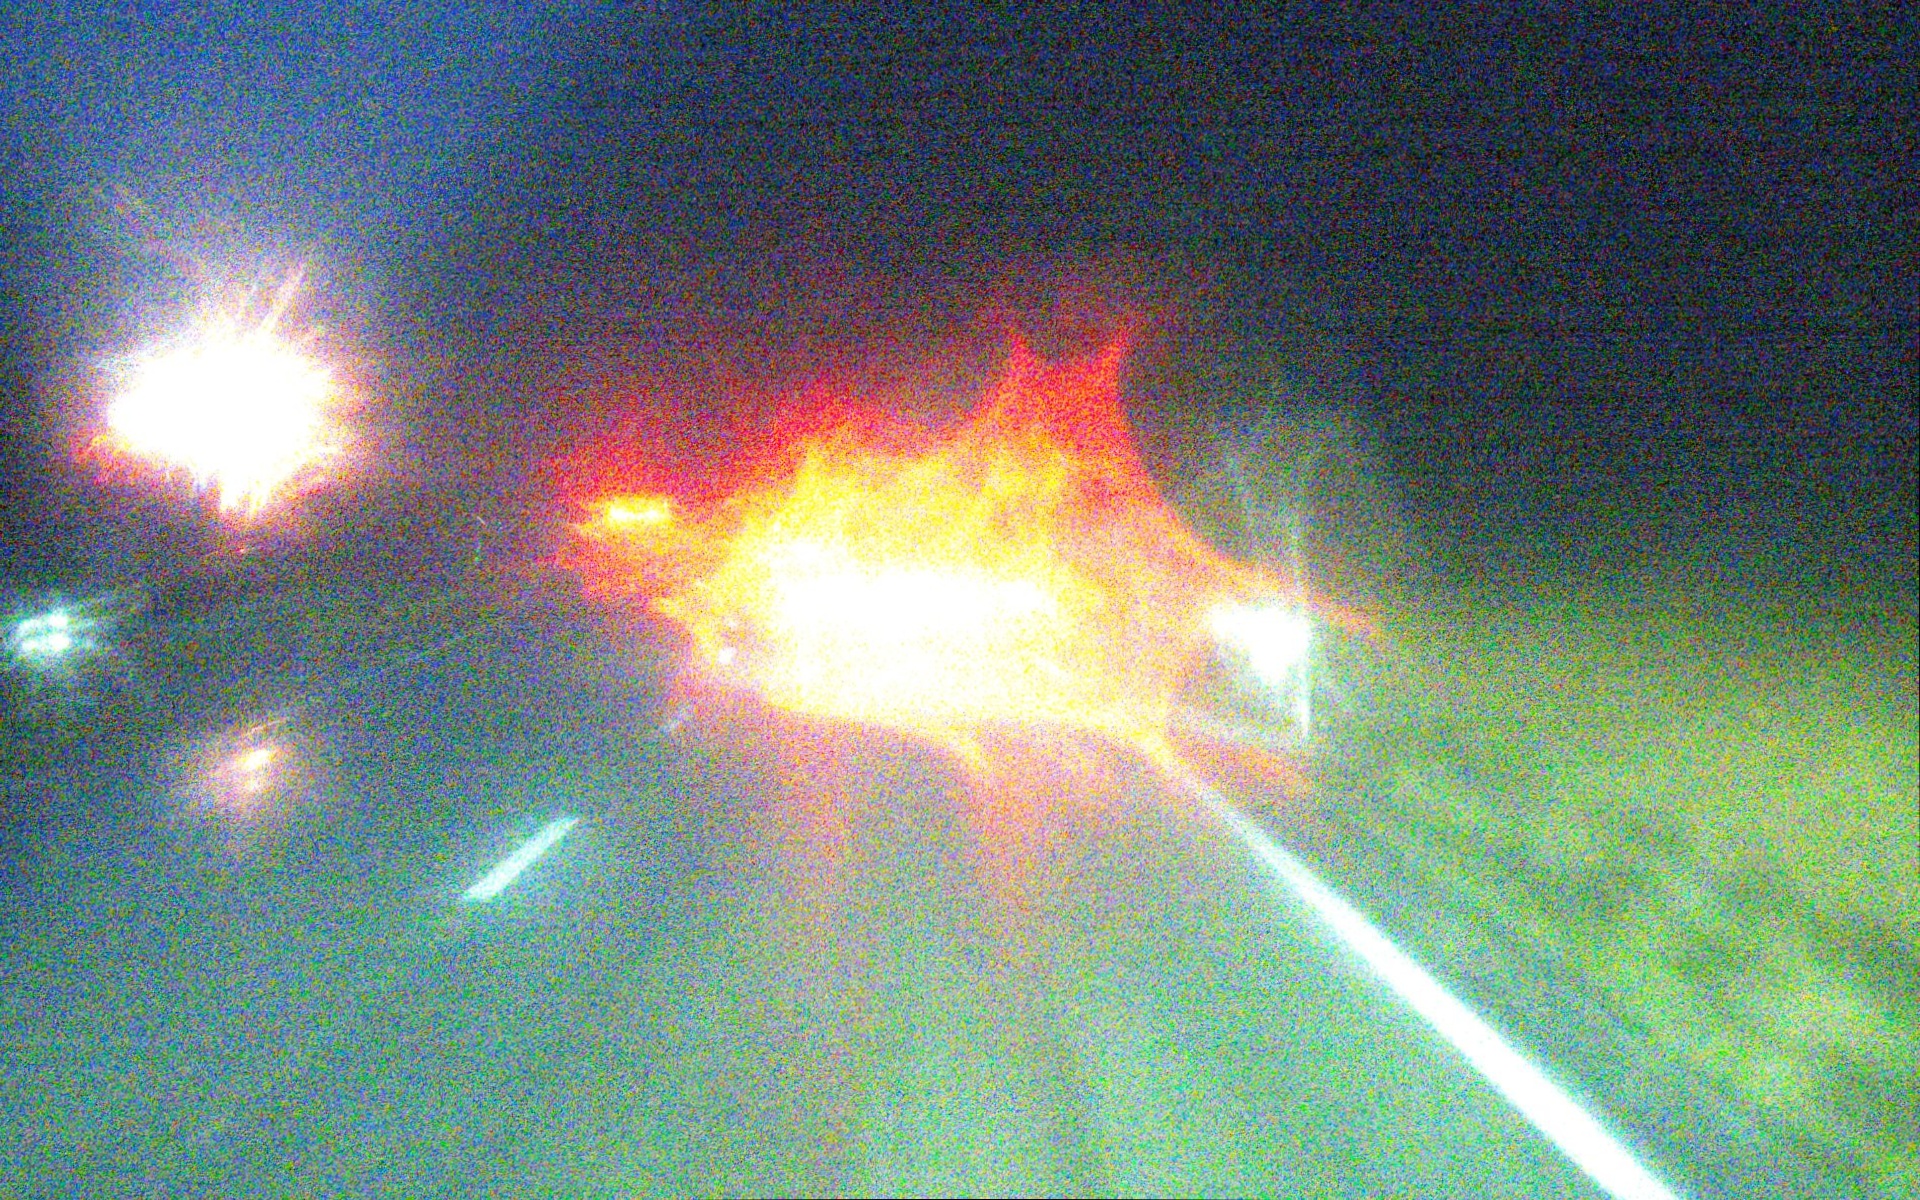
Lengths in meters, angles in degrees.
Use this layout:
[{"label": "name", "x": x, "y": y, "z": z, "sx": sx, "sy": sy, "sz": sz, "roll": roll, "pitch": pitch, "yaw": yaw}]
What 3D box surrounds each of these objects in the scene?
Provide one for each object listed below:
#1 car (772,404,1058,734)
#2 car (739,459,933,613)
[{"label": "car", "x": -0.378, "y": -0.361, "z": 29.576, "sx": 2.181, "sy": 2.548, "sz": 4.509, "roll": 2, "pitch": 3, "yaw": -1}, {"label": "car", "x": -2.250, "y": -1.288, "z": 65.046, "sx": 3.381, "sy": 2.548, "sz": 7.337, "roll": 2, "pitch": 3, "yaw": -1}]
